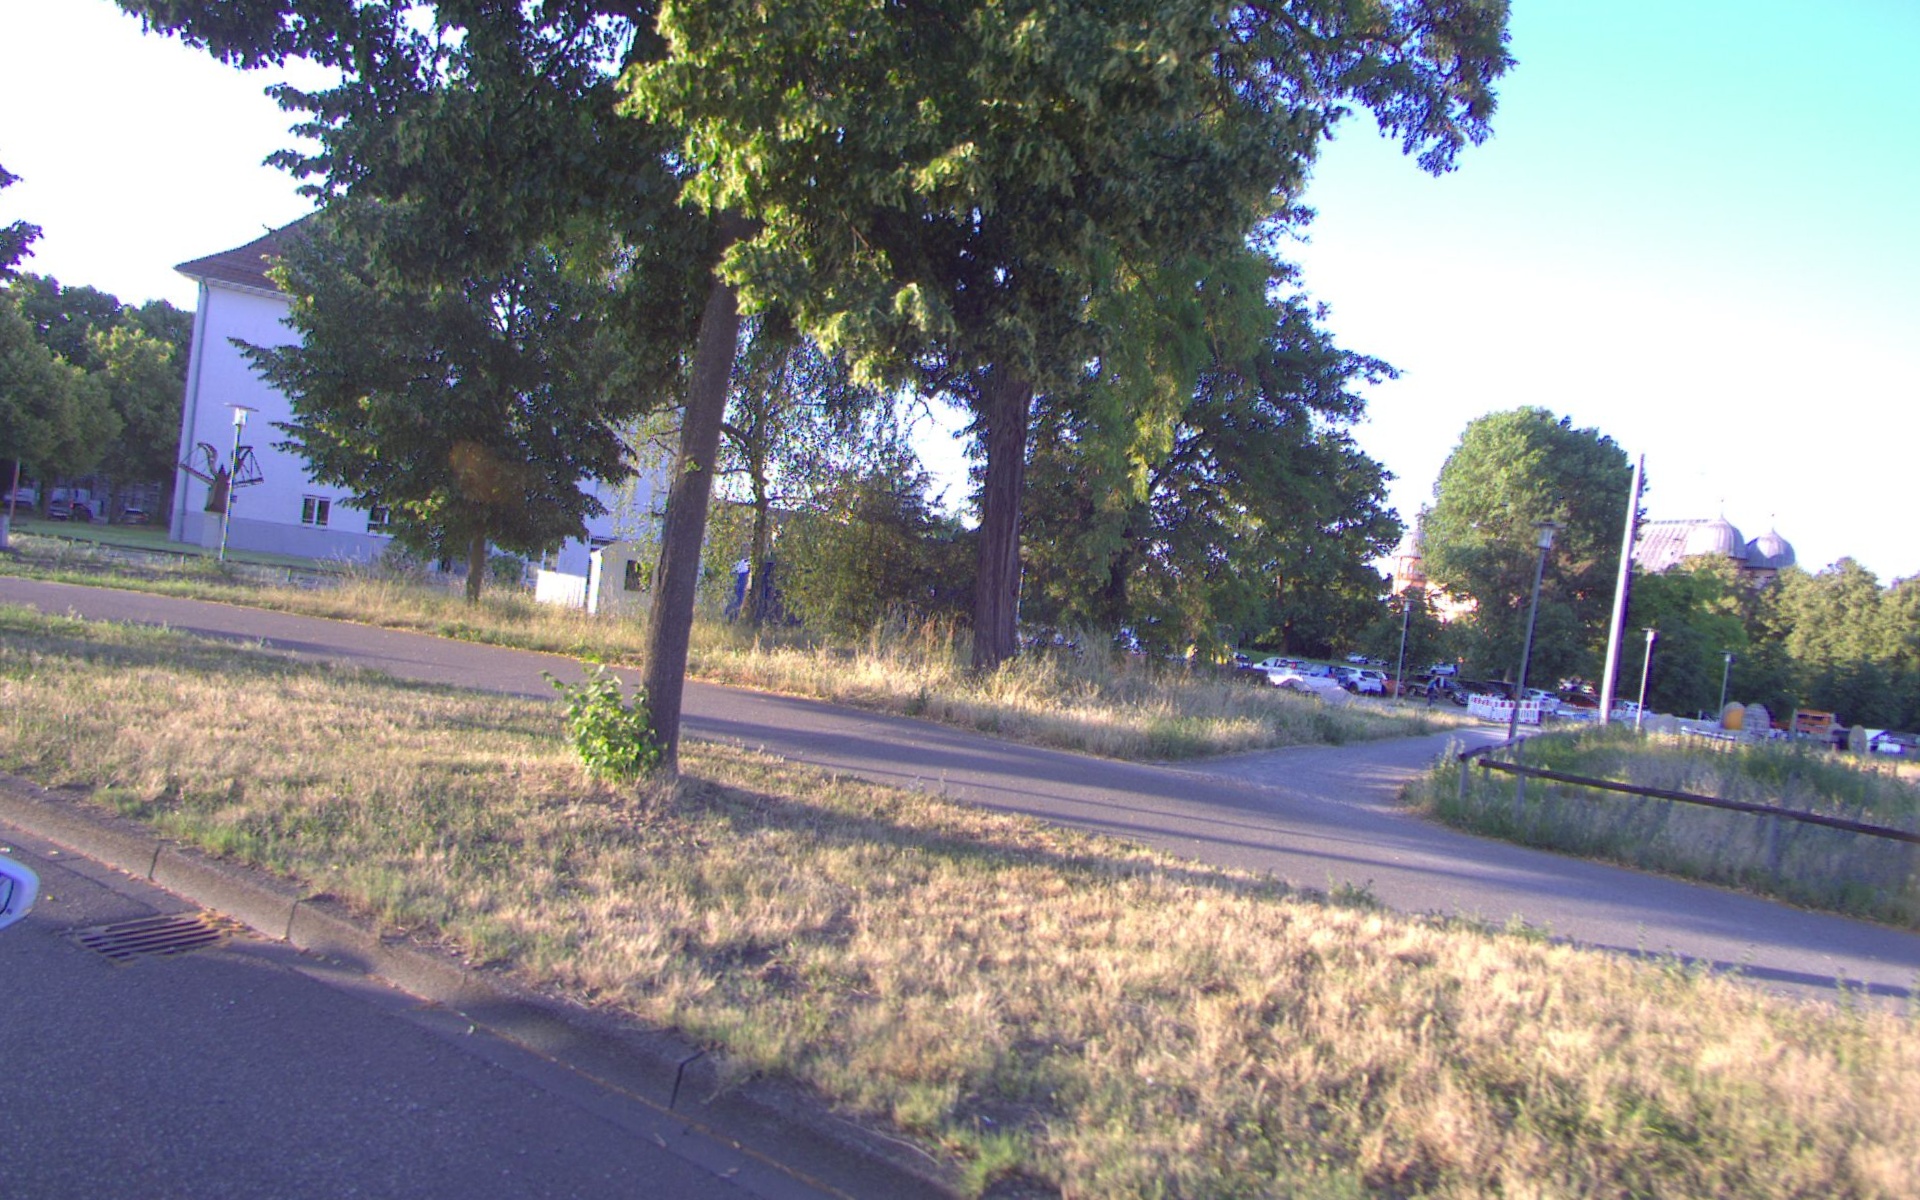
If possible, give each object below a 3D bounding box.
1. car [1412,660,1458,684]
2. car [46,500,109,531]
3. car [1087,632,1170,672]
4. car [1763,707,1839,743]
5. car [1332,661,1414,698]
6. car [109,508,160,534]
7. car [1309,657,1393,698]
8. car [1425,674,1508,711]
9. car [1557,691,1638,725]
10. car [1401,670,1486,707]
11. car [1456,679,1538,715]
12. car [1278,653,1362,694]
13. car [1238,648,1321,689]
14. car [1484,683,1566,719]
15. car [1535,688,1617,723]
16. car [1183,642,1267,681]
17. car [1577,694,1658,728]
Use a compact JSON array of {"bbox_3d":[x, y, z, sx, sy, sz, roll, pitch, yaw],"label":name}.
[{"bbox_3d":[48.240,7.269,102.106,3.954,1.765,1.987,9,0,-26],"label":"car"},{"bbox_3d":[-61.049,-5.847,69.654,1.932,1.621,4.056,8,-1,-23],"label":"car"},{"bbox_3d":[8.391,2.584,50.471,1.931,1.463,3.971,7,-1,-28],"label":"car"},{"bbox_3d":[65.262,9.691,78.158,1.882,2.121,3.971,7,-1,-28],"label":"car"},{"bbox_3d":[23.796,4.585,58.149,1.882,1.572,3.971,7,-1,-28],"label":"car"},{"bbox_3d":[-66.960,-6.389,81.673,1.932,1.621,4.056,8,-1,-23],"label":"car"},{"bbox_3d":[21.901,4.337,56.511,1.931,1.682,3.971,7,-1,-28],"label":"car"},{"bbox_3d":[30.286,5.533,60.251,1.882,1.572,3.971,7,-1,-28],"label":"car"},{"bbox_3d":[41.639,7.044,65.798,1.882,1.572,3.971,7,-1,-28],"label":"car"},{"bbox_3d":[28.508,5.185,59.414,1.882,1.572,4.070,7,-1,-28],"label":"car"},{"bbox_3d":[32.831,5.904,61.606,1.882,1.572,3.971,7,-1,-28],"label":"car"},{"bbox_3d":[19.877,4.047,55.663,1.931,1.682,3.971,7,-1,-28],"label":"car"},{"bbox_3d":[17.401,3.699,54.996,1.931,1.682,3.971,7,-1,-28],"label":"car"},{"bbox_3d":[35.369,6.317,63.078,1.882,1.572,3.971,7,-1,-28],"label":"car"},{"bbox_3d":[39.520,6.758,64.573,1.882,1.572,3.971,7,-1,-28],"label":"car"},{"bbox_3d":[13.764,3.174,52.438,1.931,1.463,3.971,7,-1,-28],"label":"car"},{"bbox_3d":[43.734,7.384,67.006,1.882,1.572,3.971,7,-1,-28],"label":"car"}]
